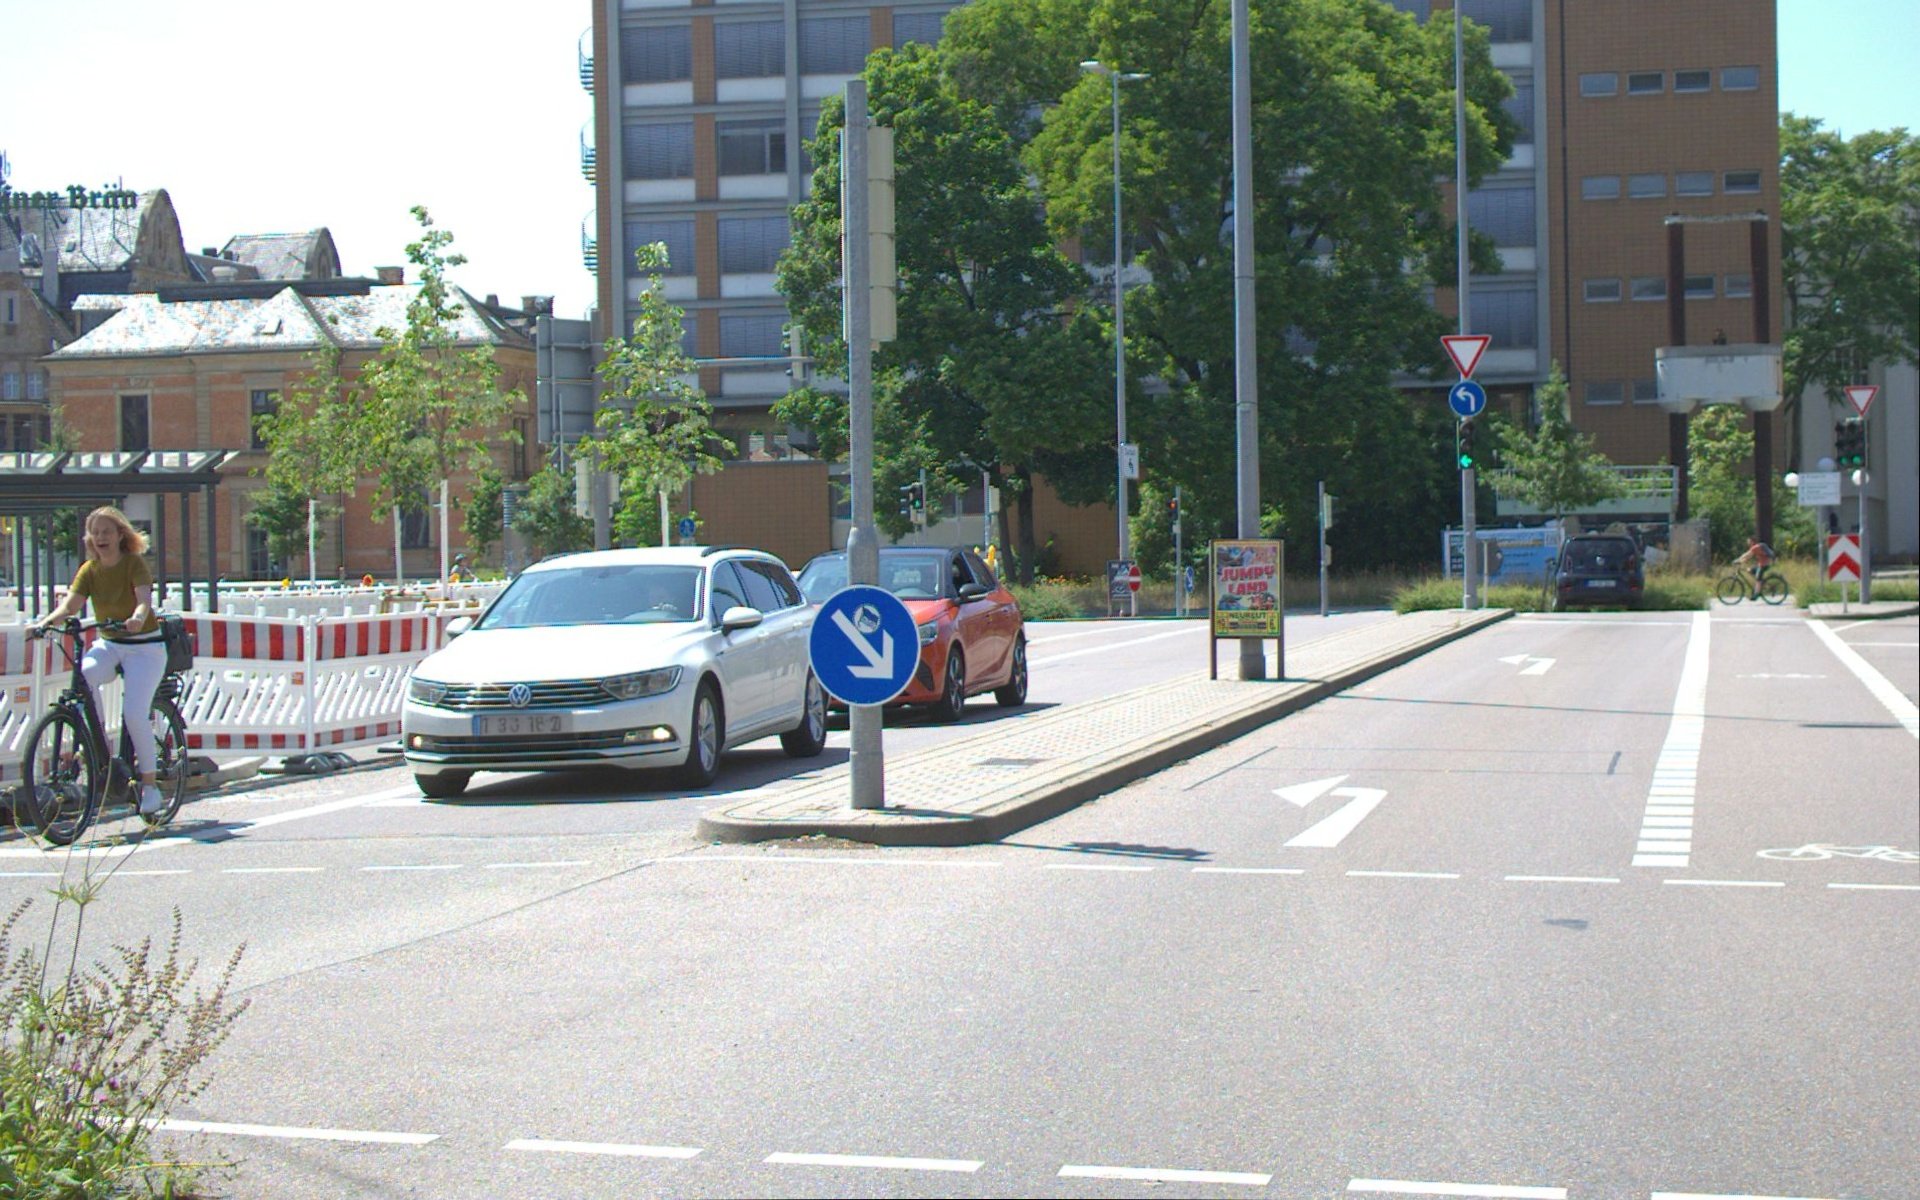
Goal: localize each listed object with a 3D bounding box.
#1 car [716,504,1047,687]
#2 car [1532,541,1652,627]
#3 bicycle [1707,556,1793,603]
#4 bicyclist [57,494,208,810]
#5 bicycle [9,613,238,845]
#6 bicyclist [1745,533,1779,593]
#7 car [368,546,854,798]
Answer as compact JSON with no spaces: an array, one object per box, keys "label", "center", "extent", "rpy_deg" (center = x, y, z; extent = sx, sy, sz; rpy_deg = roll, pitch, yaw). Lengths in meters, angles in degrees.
[{"label":"car","center":[-0.582,-0.050,29.195],"extent":[1.732,1.420,4.121],"rpy_deg":[-1,0,14]},{"label":"car","center":[11.760,-0.326,64.131],"extent":[1.689,1.521,3.689],"rpy_deg":[-1,1,3]},{"label":"bicycle","center":[19.847,-0.517,86.382],"extent":[2.009,1.131,0.573],"rpy_deg":[-1,0,24]},{"label":"bicyclist","center":[-4.575,0.282,19.011],"extent":[0.567,1.713,0.506],"rpy_deg":[-2,1,19]},{"label":"bicycle","center":[-4.588,0.684,18.958],"extent":[0.398,1.170,1.769],"rpy_deg":[-1,1,15]},{"label":"bicyclist","center":[20.118,-0.930,86.275],"extent":[0.685,1.483,0.783],"rpy_deg":[-1,0,23]},{"label":"car","center":[-2.106,0.405,22.267],"extent":[1.994,1.433,4.704],"rpy_deg":[-1,0,9]}]
